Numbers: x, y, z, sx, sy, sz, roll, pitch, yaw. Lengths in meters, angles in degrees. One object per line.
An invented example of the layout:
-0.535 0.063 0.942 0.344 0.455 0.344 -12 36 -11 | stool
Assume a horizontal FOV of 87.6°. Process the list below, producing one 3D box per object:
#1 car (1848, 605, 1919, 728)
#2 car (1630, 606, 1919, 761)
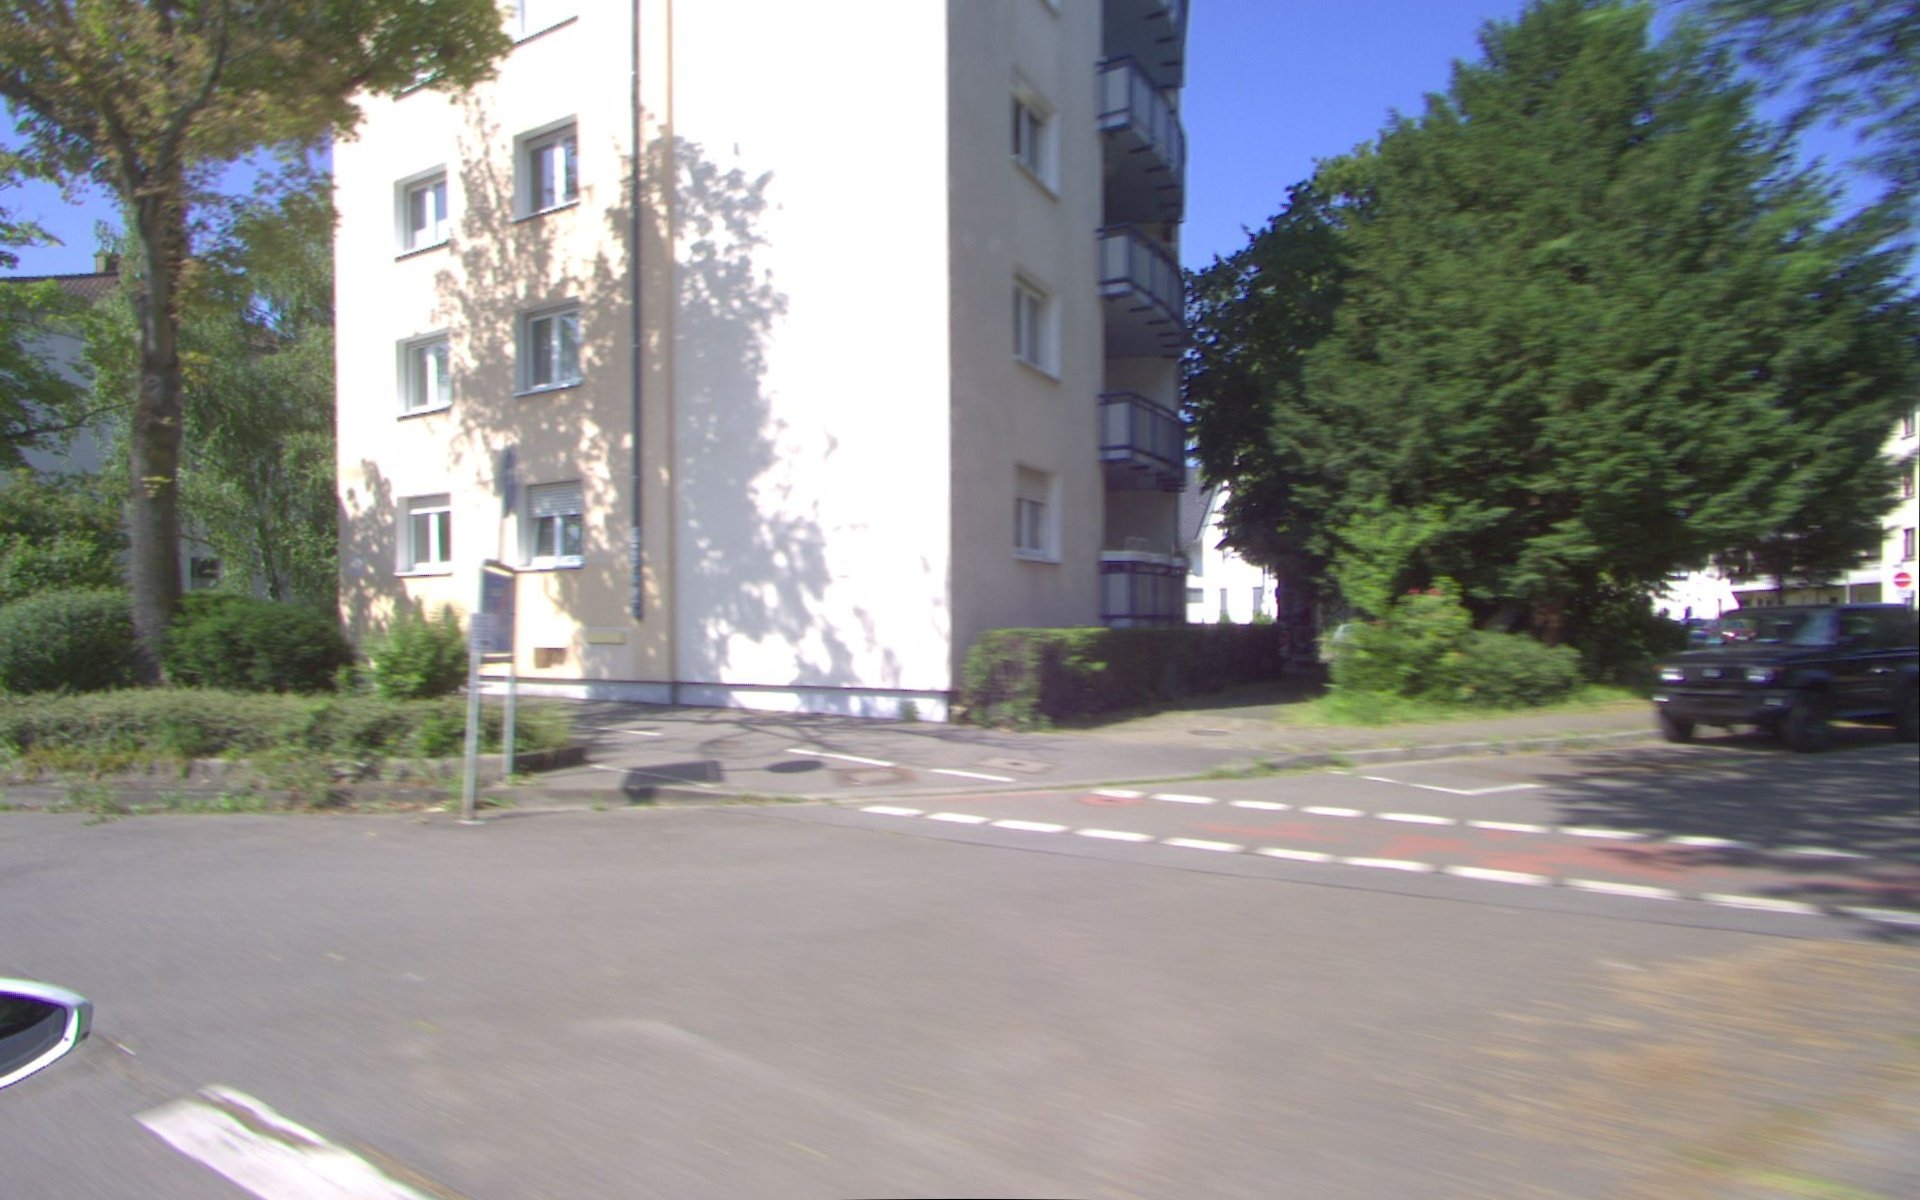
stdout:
14.910 0.927 14.640 3.790 1.695 1.655 0 -1 -28 | car
10.222 0.939 12.313 3.531 1.675 1.682 0 -1 -24 | car
